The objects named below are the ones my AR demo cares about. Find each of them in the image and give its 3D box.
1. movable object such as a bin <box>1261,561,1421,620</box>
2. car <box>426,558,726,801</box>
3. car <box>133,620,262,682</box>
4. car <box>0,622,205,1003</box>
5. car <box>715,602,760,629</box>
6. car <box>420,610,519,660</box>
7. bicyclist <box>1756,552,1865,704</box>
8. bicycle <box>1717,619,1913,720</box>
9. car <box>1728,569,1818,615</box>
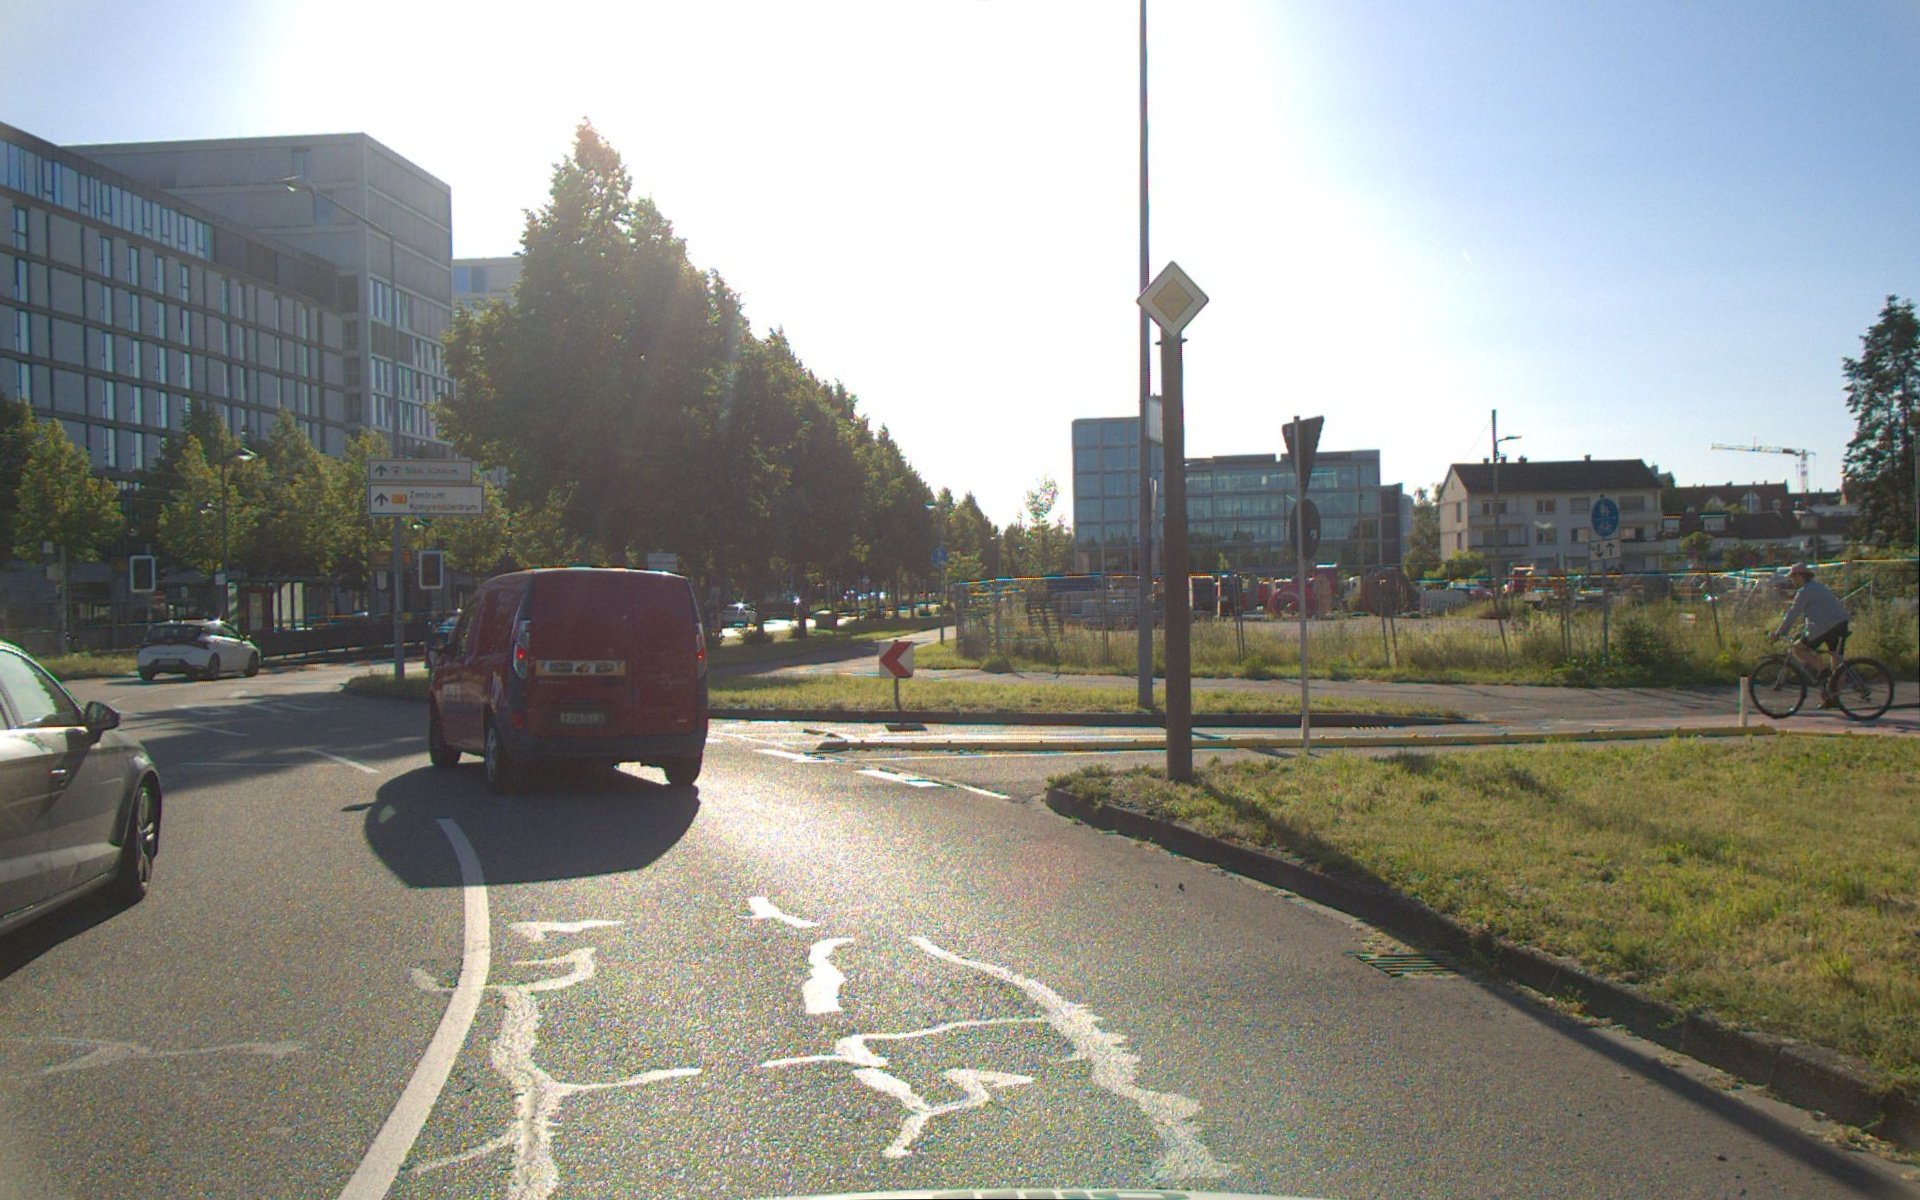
[{"bbox_3d":[19.533,-0.485,85.230,7.738,2.831,2.946,-1,1,8],"label":"movable object such as a bin"},{"bbox_3d":[-3.515,0.631,14.642,1.781,1.845,3.777,1,-1,-26],"label":"car"},{"bbox_3d":[-19.173,1.276,41.733,1.768,1.487,3.805,0,-1,-5],"label":"car"},{"bbox_3d":[-4.606,0.822,6.830,1.729,1.404,4.346,-1,0,-11],"label":"car"},{"bbox_3d":[-14.268,0.994,106.349,1.951,1.602,4.411,-2,1,4],"label":"car"},{"bbox_3d":[-17.903,1.249,60.533,1.951,1.602,4.411,-2,1,5],"label":"car"},{"bbox_3d":[10.061,0.314,19.577,0.732,1.709,0.846,-4,2,-28],"label":"bicyclist"},{"bbox_3d":[10.092,0.788,19.601,0.731,1.045,1.992,-4,2,-27],"label":"bicycle"},{"bbox_3d":[36.948,-0.390,75.315,1.952,2.049,4.500,1,1,1],"label":"car"}]
